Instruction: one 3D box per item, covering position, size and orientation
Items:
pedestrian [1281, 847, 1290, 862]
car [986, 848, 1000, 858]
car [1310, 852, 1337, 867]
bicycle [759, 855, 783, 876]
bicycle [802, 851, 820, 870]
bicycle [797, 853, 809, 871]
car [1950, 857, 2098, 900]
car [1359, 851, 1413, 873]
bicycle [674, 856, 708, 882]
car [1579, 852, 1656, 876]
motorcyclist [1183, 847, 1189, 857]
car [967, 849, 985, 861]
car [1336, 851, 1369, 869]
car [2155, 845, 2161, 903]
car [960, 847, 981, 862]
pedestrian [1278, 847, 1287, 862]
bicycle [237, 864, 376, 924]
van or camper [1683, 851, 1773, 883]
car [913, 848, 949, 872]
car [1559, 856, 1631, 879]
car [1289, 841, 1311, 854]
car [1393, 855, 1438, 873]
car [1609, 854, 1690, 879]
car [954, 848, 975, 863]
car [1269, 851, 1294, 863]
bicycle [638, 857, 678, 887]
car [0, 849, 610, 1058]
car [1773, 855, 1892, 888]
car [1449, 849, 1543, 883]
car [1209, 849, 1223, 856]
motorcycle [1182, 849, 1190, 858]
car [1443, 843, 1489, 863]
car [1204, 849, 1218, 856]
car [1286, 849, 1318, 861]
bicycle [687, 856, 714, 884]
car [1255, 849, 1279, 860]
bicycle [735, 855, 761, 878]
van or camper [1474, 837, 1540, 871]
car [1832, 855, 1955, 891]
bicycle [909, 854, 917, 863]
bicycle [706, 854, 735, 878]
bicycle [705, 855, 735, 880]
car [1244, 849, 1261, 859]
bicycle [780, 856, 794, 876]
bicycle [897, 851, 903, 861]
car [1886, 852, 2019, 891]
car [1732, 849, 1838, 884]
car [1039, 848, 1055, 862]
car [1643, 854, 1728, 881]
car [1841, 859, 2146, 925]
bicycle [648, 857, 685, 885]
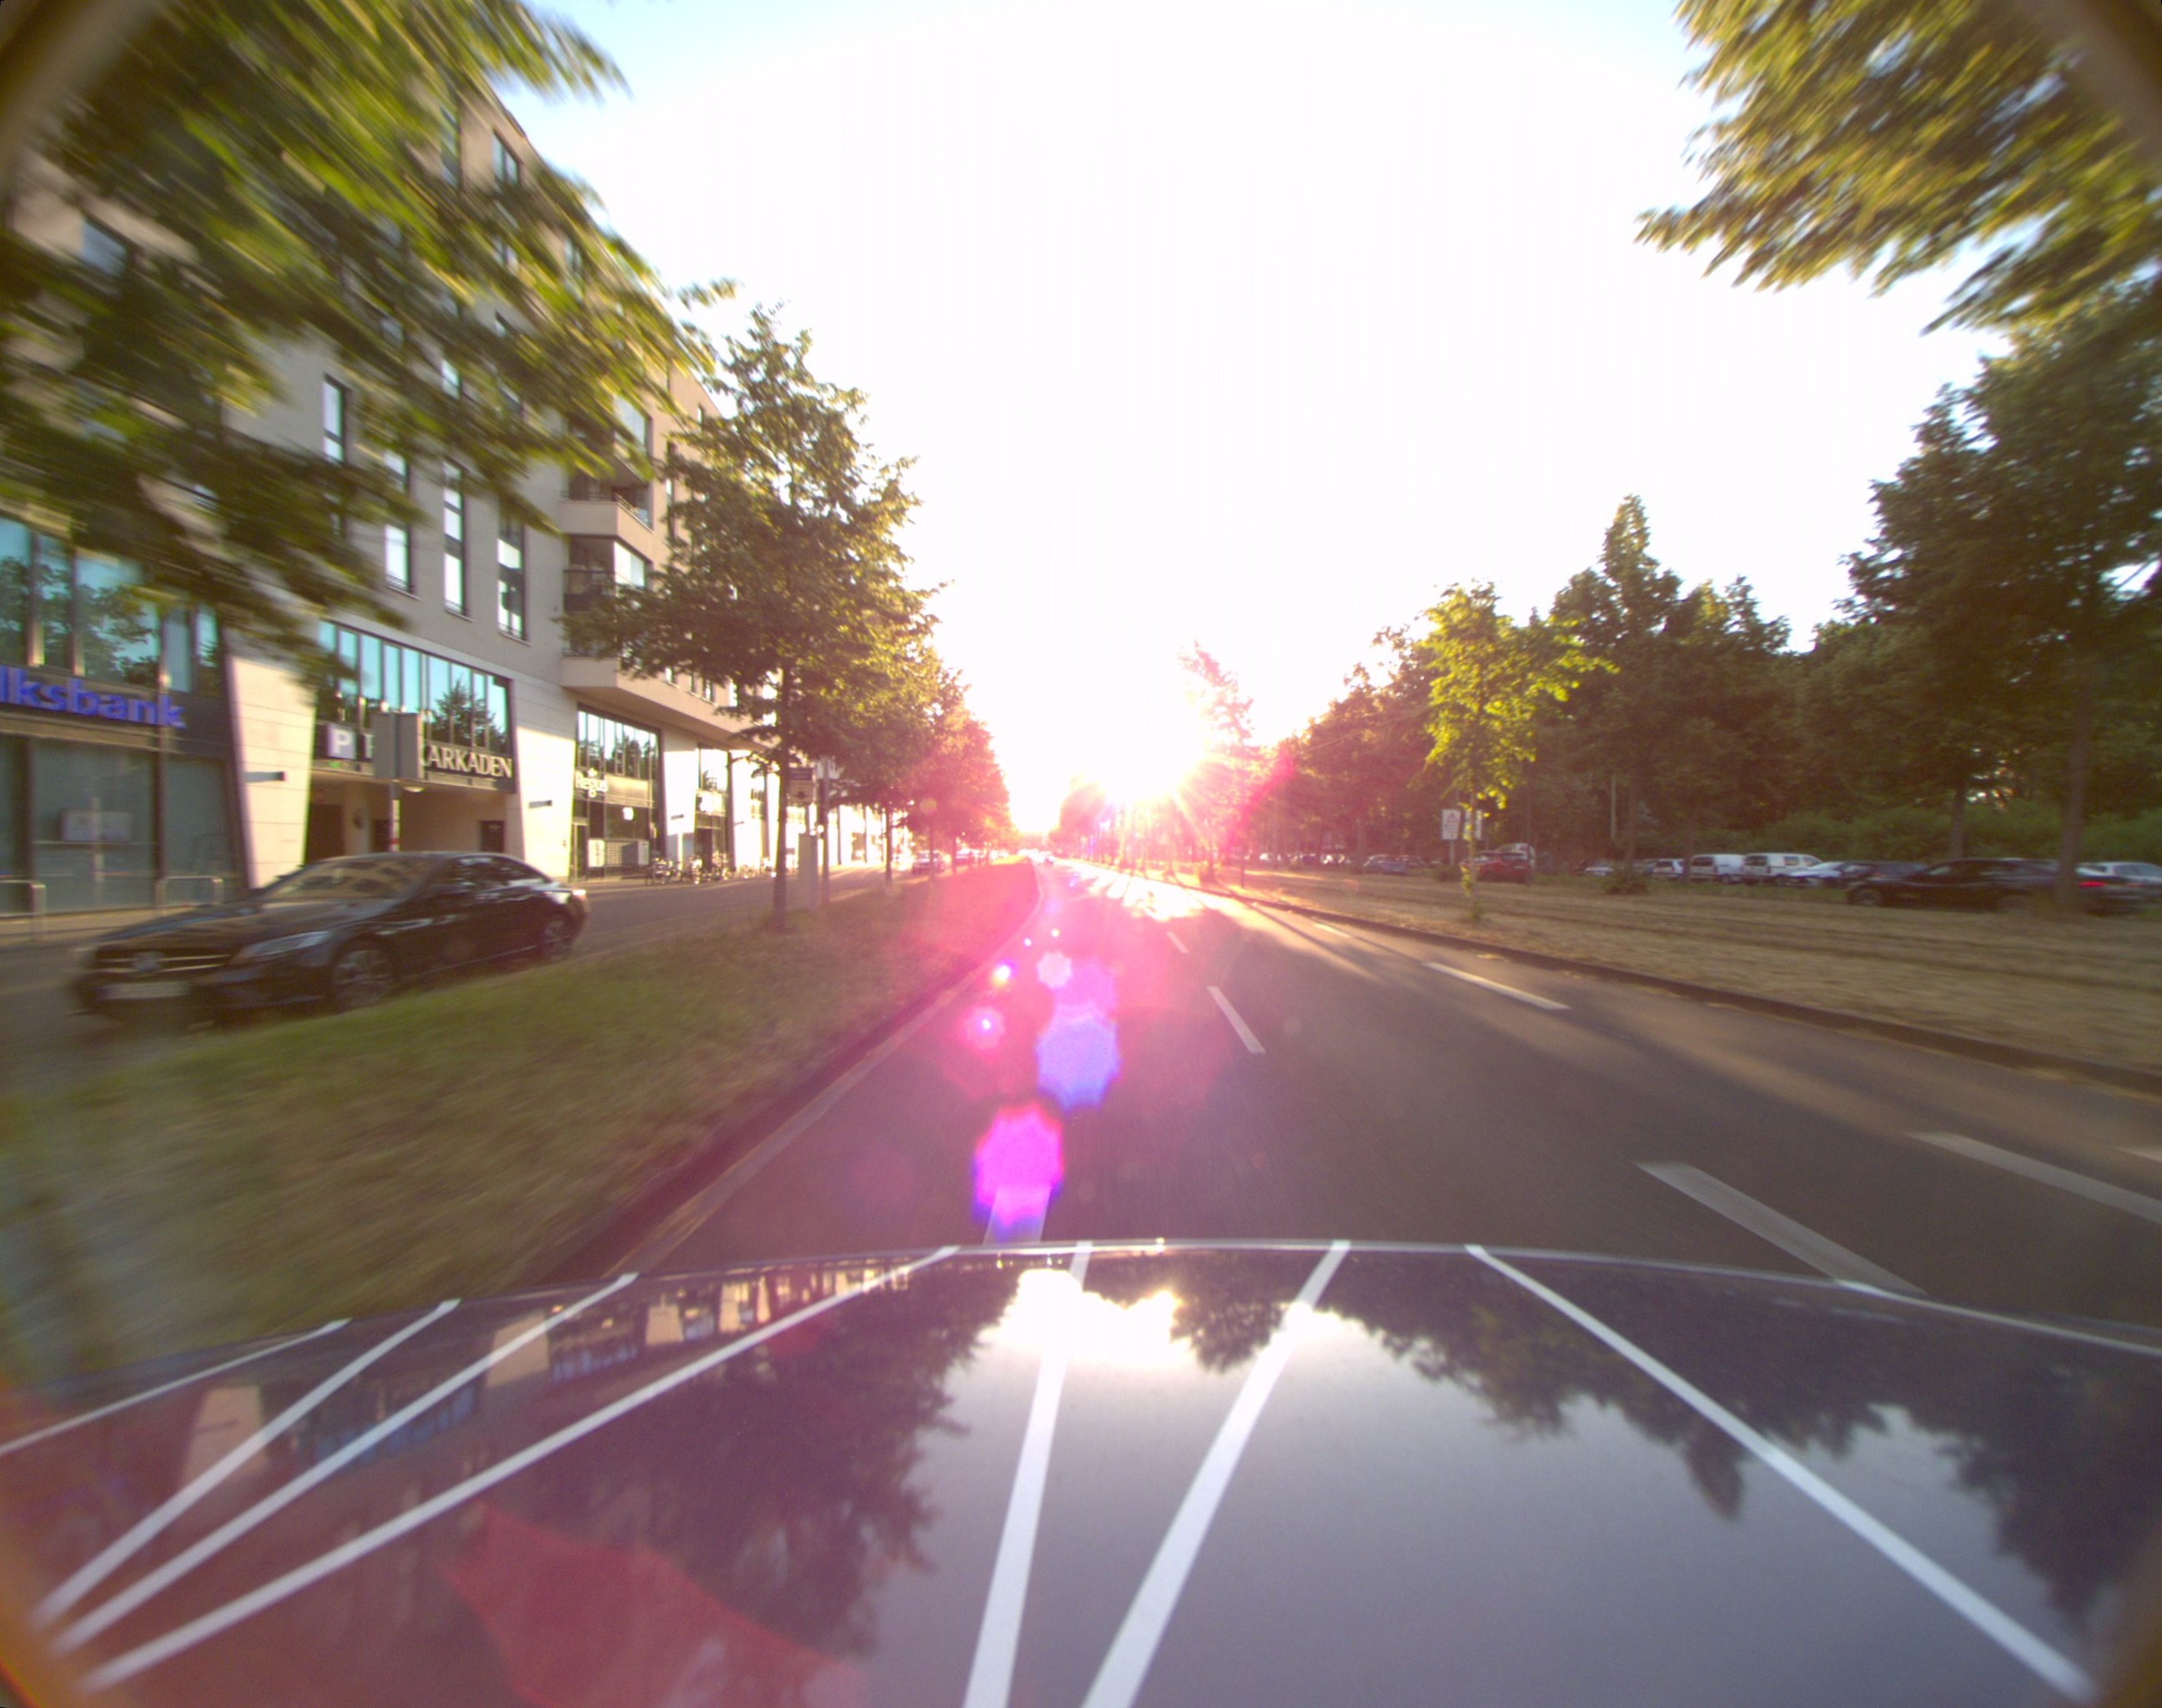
[{"bbox_3d":[24.571,0.092,91.125,0.695,1.749,0.865,0,1,-11],"label":"pedestrian"},{"bbox_3d":[-14.362,-0.124,123.851,1.813,1.492,4.368,3,0,-1],"label":"car"},{"bbox_3d":[28.627,0.618,89.839,1.998,1.740,4.160,0,1,1],"label":"car"},{"bbox_3d":[-16.167,0.589,39.633,0.534,1.055,1.856,2,0,-4],"label":"bicycle"},{"bbox_3d":[-17.036,0.410,48.005,0.539,1.157,1.780,2,0,-3],"label":"bicycle"},{"bbox_3d":[-17.549,0.512,47.940,0.535,1.055,1.854,2,0,-16],"label":"bicycle"},{"bbox_3d":[38.064,0.965,30.731,3.999,1.630,1.921,0,1,-7],"label":"car"},{"bbox_3d":[21.570,0.536,53.925,1.923,1.499,4.285,0,0,-4],"label":"car"},{"bbox_3d":[-15.968,0.600,31.113,0.534,1.055,1.856,0,0,-4],"label":"bicycle"},{"bbox_3d":[37.221,0.698,52.768,3.998,1.630,1.921,0,1,-2],"label":"car"},{"bbox_3d":[15.282,-0.291,110.486,0.683,1.368,0.804,0,1,-5],"label":"motorcyclist"},{"bbox_3d":[-12.790,0.115,92.780,1.926,1.492,5.007,0,0,-5],"label":"car"},{"bbox_3d":[27.900,0.612,78.308,1.998,1.740,4.160,0,1,1],"label":"car"},{"bbox_3d":[39.407,0.706,25.616,3.999,2.002,1.998,0,1,-7],"label":"car"},{"bbox_3d":[-12.389,0.056,85.479,1.959,1.614,4.818,-2,0,-4],"label":"car"},{"bbox_3d":[23.976,0.051,90.357,0.695,1.859,0.865,0,1,-11],"label":"pedestrian"},{"bbox_3d":[-14.829,0.736,14.639,0.654,1.033,2.054,0,1,-3],"label":"bicycle"},{"bbox_3d":[37.721,0.746,44.340,4.002,1.780,1.997,0,0,-14],"label":"van or camper"},{"bbox_3d":[-10.100,0.384,51.500,1.814,1.492,4.823,0,0,-5],"label":"car"},{"bbox_3d":[37.164,0.951,55.004,3.998,1.630,1.922,0,1,-2],"label":"car"},{"bbox_3d":[35.395,-1.046,122.830,1.999,2.002,5.058,0,0,0],"label":"car"},{"bbox_3d":[29.511,0.875,67.181,1.999,1.477,3.998,0,1,-4],"label":"car"},{"bbox_3d":[37.145,0.792,49.690,3.999,1.630,1.921,0,1,-7],"label":"car"},{"bbox_3d":[-11.943,0.158,78.114,1.729,1.492,4.231,-1,0,-3],"label":"car"},{"bbox_3d":[26.211,0.420,99.578,1.905,1.491,4.305,0,1,-3],"label":"car"},{"bbox_3d":[-15.793,0.652,28.393,0.534,1.055,1.856,2,0,-4],"label":"bicycle"},{"bbox_3d":[-7.295,0.722,8.089,1.949,1.540,4.809,0,1,-6],"label":"car"},{"bbox_3d":[37.868,0.860,38.364,3.996,1.630,1.922,0,1,3],"label":"car"},{"bbox_3d":[19.769,0.531,36.420,1.891,1.569,4.180,0,0,-5],"label":"car"},{"bbox_3d":[26.441,-0.289,148.595,1.815,1.522,4.052,0,0,-2],"label":"car"},{"bbox_3d":[15.292,-0.081,110.413,0.684,1.329,2.344,0,1,-4],"label":"motorcycle"},{"bbox_3d":[35.211,-0.119,69.599,1.999,1.740,3.998,0,1,-4],"label":"car"},{"bbox_3d":[26.446,-0.284,154.523,1.999,1.491,4.297,0,0,-2],"label":"car"},{"bbox_3d":[25.753,0.104,88.868,1.999,1.307,5.140,0,1,-3],"label":"car"},{"bbox_3d":[-15.220,0.637,30.394,0.535,1.055,1.778,2,0,-13],"label":"bicycle"},{"bbox_3d":[25.724,0.048,105.390,1.999,1.490,4.555,0,1,-3],"label":"car"},{"bbox_3d":[-16.169,0.597,36.966,0.534,1.055,1.856,2,0,-4],"label":"bicycle"},{"bbox_3d":[36.157,-0.008,64.645,2.091,2.720,5.491,0,1,-5],"label":"van or camper"},{"bbox_3d":[37.935,0.867,35.519,3.999,1.630,1.921,0,1,-7],"label":"car"},{"bbox_3d":[-19.100,0.496,86.334,0.622,1.027,2.260,0,1,-5],"label":"bicycle"},{"bbox_3d":[-16.665,0.524,35.161,0.534,1.055,1.856,2,0,-4],"label":"bicycle"},{"bbox_3d":[-16.046,0.573,33.810,0.534,1.055,1.856,2,0,-4],"label":"bicycle"},{"bbox_3d":[26.280,-0.015,116.488,1.998,1.630,4.001,0,0,3],"label":"car"},{"bbox_3d":[-15.894,0.630,41.093,0.535,1.055,1.854,2,0,-16],"label":"bicycle"},{"bbox_3d":[-19.270,0.229,80.866,0.535,1.053,1.611,0,1,-9],"label":"bicycle"},{"bbox_3d":[37.996,0.739,33.184,3.999,1.630,1.921,0,1,-7],"label":"car"},{"bbox_3d":[38.259,0.655,41.371,3.998,1.834,2.011,0,1,-3],"label":"car"},{"bbox_3d":[-4.004,0.096,89.116,1.828,1.625,3.998,0,0,-5],"label":"car"},{"bbox_3d":[37.835,0.801,47.584,3.999,1.630,1.921,0,1,-7],"label":"car"},{"bbox_3d":[21.279,0.808,18.074,1.662,1.324,4.471,0,0,-5],"label":"car"},{"bbox_3d":[-16.509,0.643,30.331,0.534,1.055,1.856,2,0,-4],"label":"bicycle"}]
